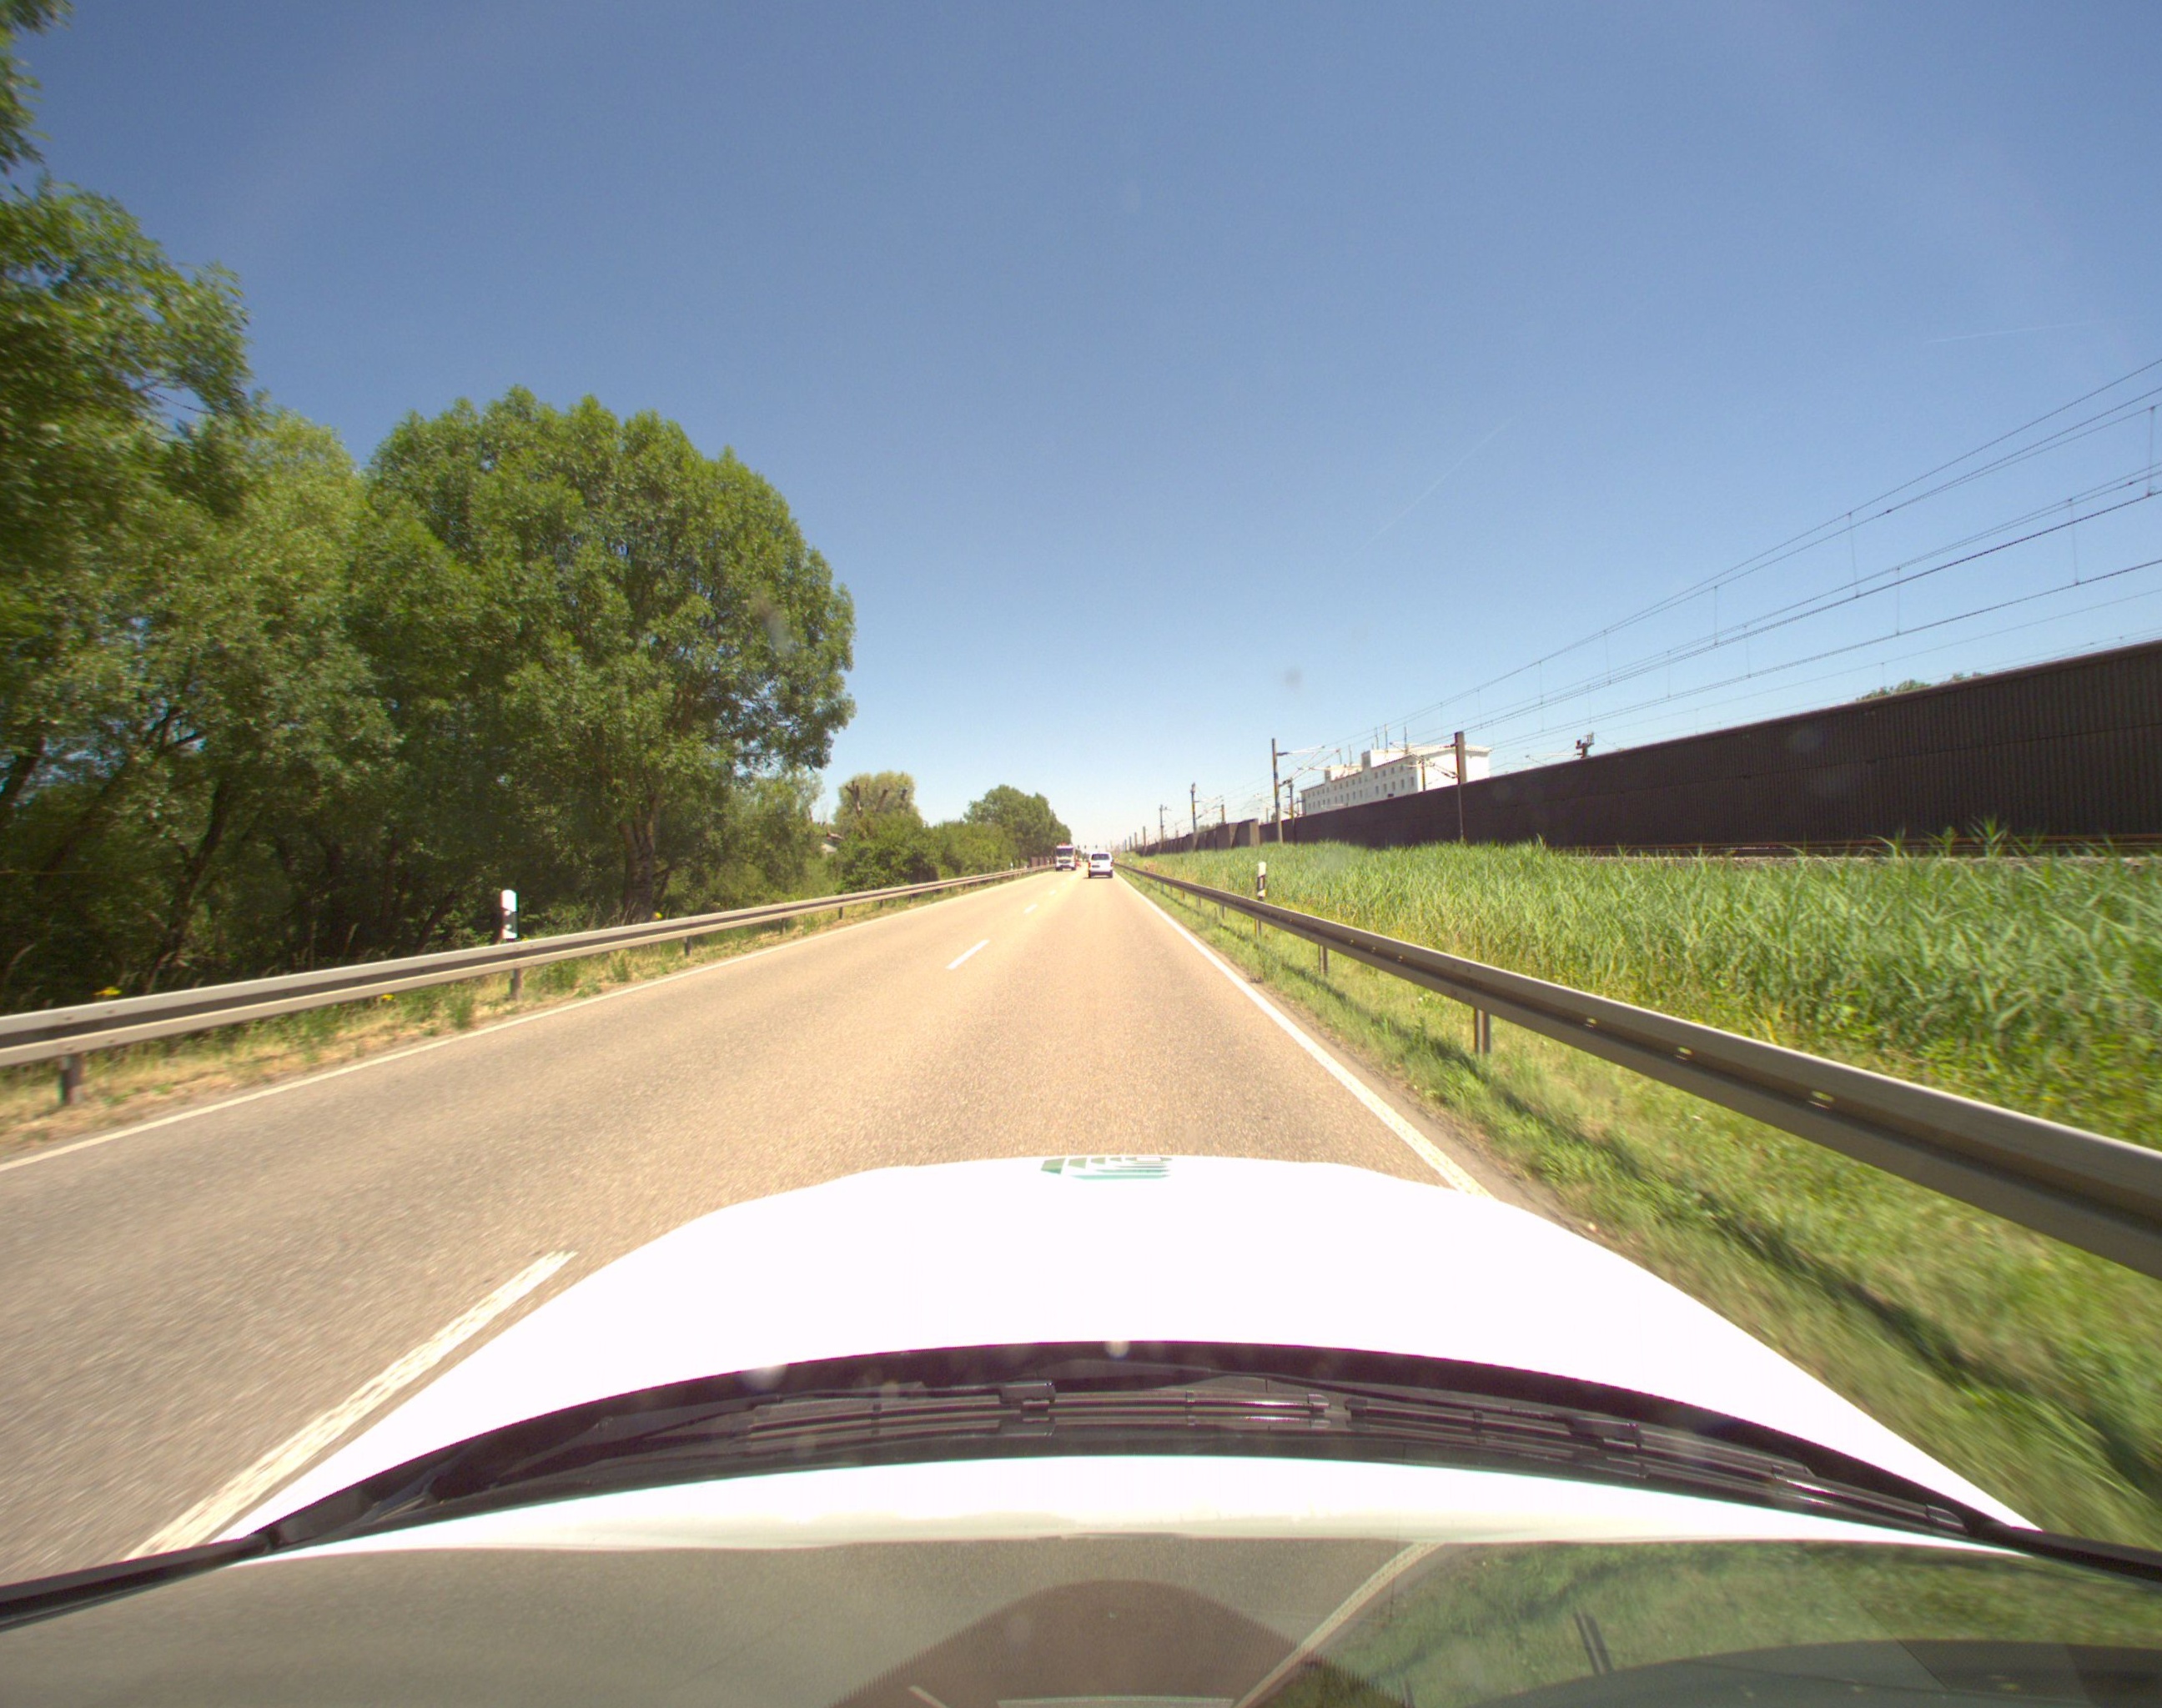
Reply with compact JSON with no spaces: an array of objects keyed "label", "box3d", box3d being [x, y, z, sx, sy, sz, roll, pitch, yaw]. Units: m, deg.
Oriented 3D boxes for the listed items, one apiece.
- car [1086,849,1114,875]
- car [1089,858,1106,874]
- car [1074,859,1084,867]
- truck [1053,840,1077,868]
[{"label":"car","box3d":[1.445,0.609,61.683,1.986,1.850,4.001,-1,0,1]},{"label":"car","box3d":[2.034,1.449,99.509,1.986,1.850,4.001,-1,0,1]},{"label":"car","box3d":[-0.324,1.720,153.024,1.783,1.421,4.000,-2,0,1]},{"label":"truck","box3d":[-1.942,0.056,104.111,2.774,3.405,7.989,-1,0,1]}]
